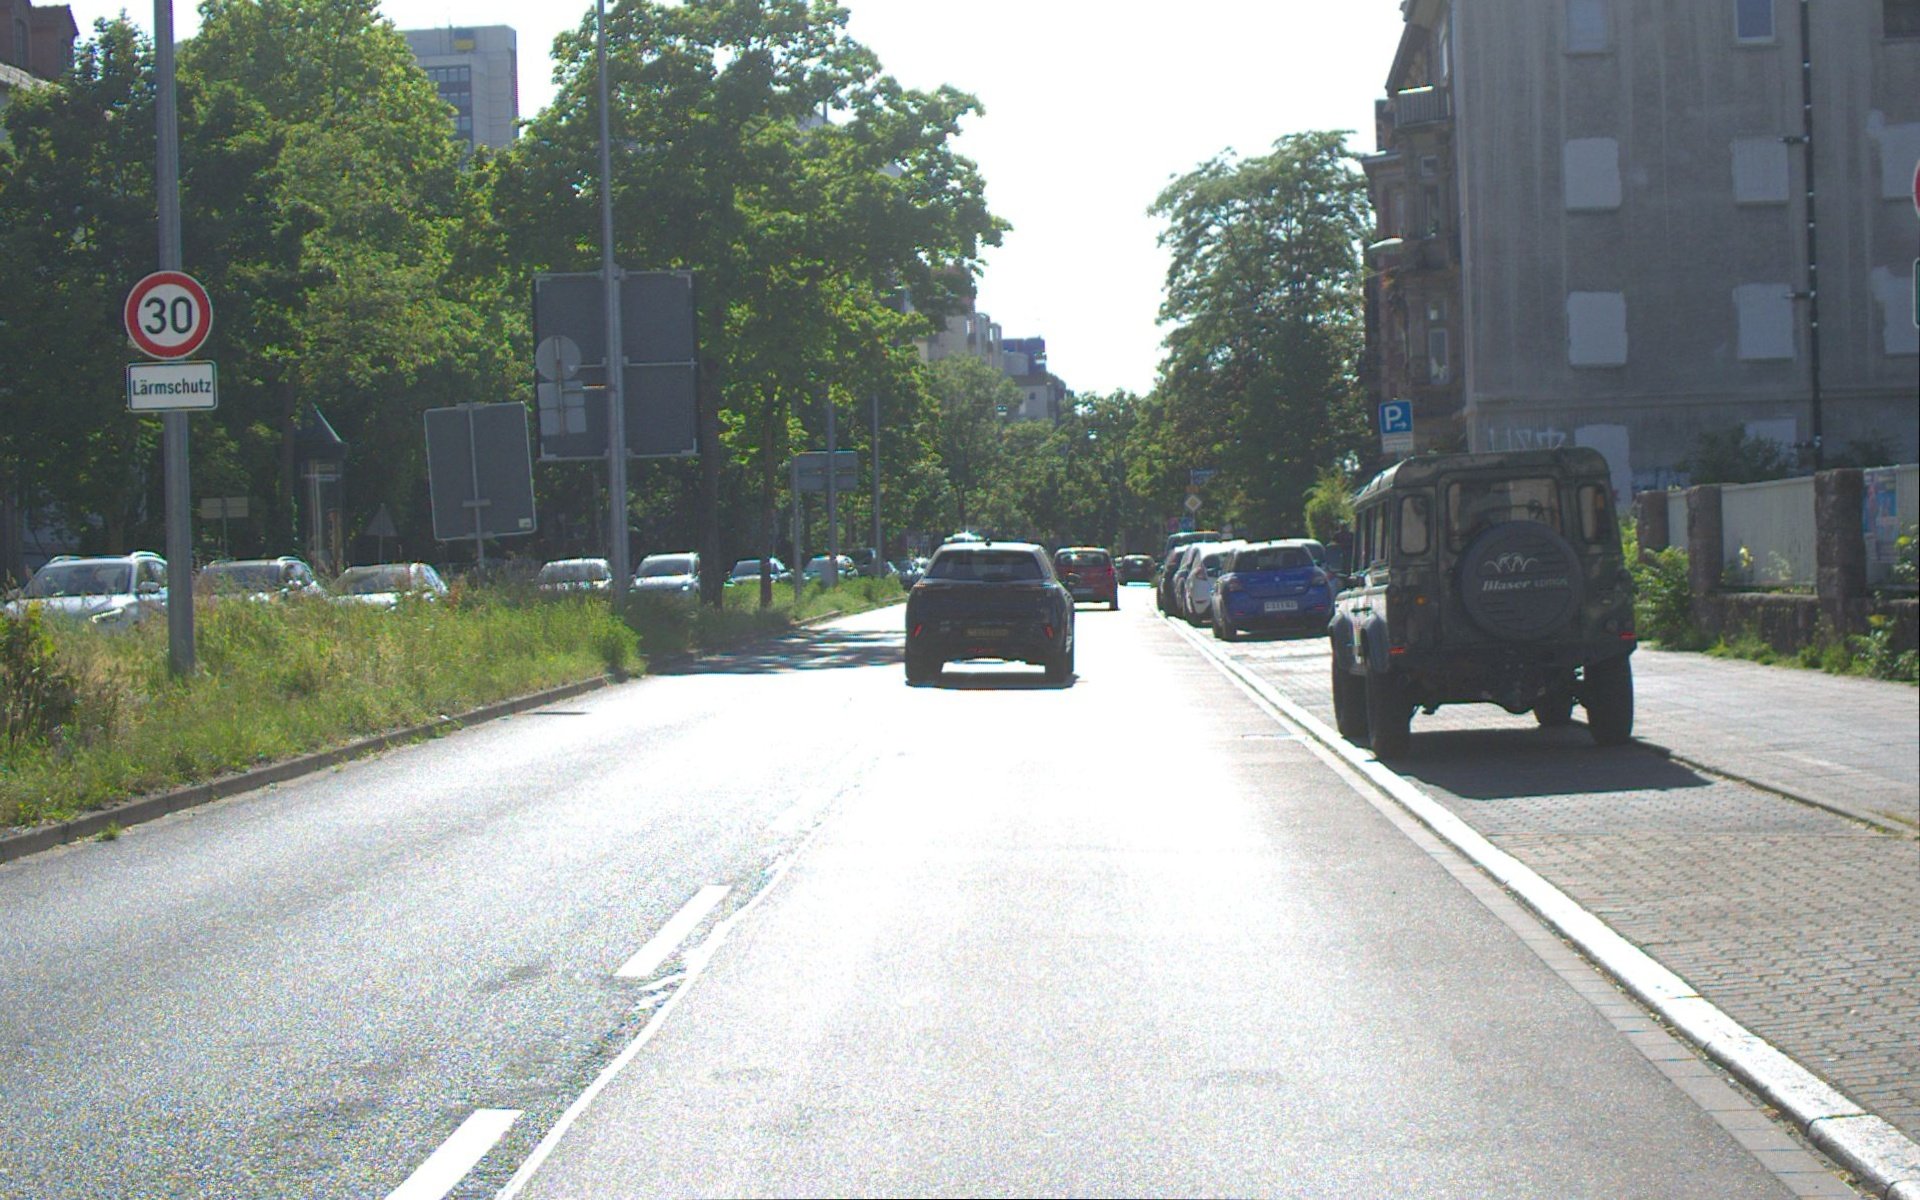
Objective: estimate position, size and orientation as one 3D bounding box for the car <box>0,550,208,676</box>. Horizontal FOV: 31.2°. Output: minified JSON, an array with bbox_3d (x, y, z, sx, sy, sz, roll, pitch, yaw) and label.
[{"bbox_3d":[-11.169,0.138,44.573,1.796,1.514,4.258,-1,1,1],"label":"car"}]

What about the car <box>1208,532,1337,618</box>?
[{"bbox_3d":[4.980,-0.422,55.207,1.668,1.178,3.901,-5,1,1],"label":"car"}]

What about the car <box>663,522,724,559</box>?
[{"bbox_3d":[-12.540,-2.774,161.571,1.974,1.656,4.001,-2,1,-17],"label":"car"}]

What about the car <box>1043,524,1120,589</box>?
[{"bbox_3d":[2.934,-1.058,82.824,1.792,1.515,3.849,0,1,2],"label":"car"}]

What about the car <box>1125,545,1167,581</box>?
[{"bbox_3d":[8.998,-1.789,166.323,1.920,1.634,4.000,-2,1,2],"label":"car"}]

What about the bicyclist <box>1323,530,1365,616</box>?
[{"bbox_3d":[7.224,-0.512,64.722,0.741,1.574,1.100,-1,2,4],"label":"bicyclist"}]

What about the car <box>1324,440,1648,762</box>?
[{"bbox_3d":[3.655,-0.016,24.625,1.660,2.007,4.776,-3,0,2],"label":"car"}]

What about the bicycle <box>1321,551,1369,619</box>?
[{"bbox_3d":[7.247,-0.285,64.802,0.741,1.215,1.960,-4,1,4],"label":"bicycle"}]

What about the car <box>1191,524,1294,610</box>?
[{"bbox_3d":[5.276,-0.645,64.601,1.608,1.441,3.659,-5,1,1],"label":"car"}]

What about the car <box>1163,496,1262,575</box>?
[{"bbox_3d":[5.158,-1.332,70.673,1.668,1.514,3.661,-2,1,-1],"label":"car"}]

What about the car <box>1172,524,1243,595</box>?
[{"bbox_3d":[6.818,-1.144,94.466,1.819,1.837,4.363,-2,1,5],"label":"car"}]

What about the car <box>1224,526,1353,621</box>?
[{"bbox_3d":[5.691,-0.487,59.975,1.668,1.455,3.986,-5,1,-1],"label":"car"}]

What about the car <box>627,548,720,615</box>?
[{"bbox_3d":[-7.515,-0.512,90.613,1.901,1.620,4.537,-3,1,1],"label":"car"}]

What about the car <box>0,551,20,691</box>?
[{"bbox_3d":[-11.352,0.266,35.771,1.796,1.514,4.444,-1,1,1],"label":"car"}]

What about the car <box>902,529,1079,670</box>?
[{"bbox_3d":[0.313,-0.037,38.985,1.894,1.514,4.000,0,1,0],"label":"car"}]
